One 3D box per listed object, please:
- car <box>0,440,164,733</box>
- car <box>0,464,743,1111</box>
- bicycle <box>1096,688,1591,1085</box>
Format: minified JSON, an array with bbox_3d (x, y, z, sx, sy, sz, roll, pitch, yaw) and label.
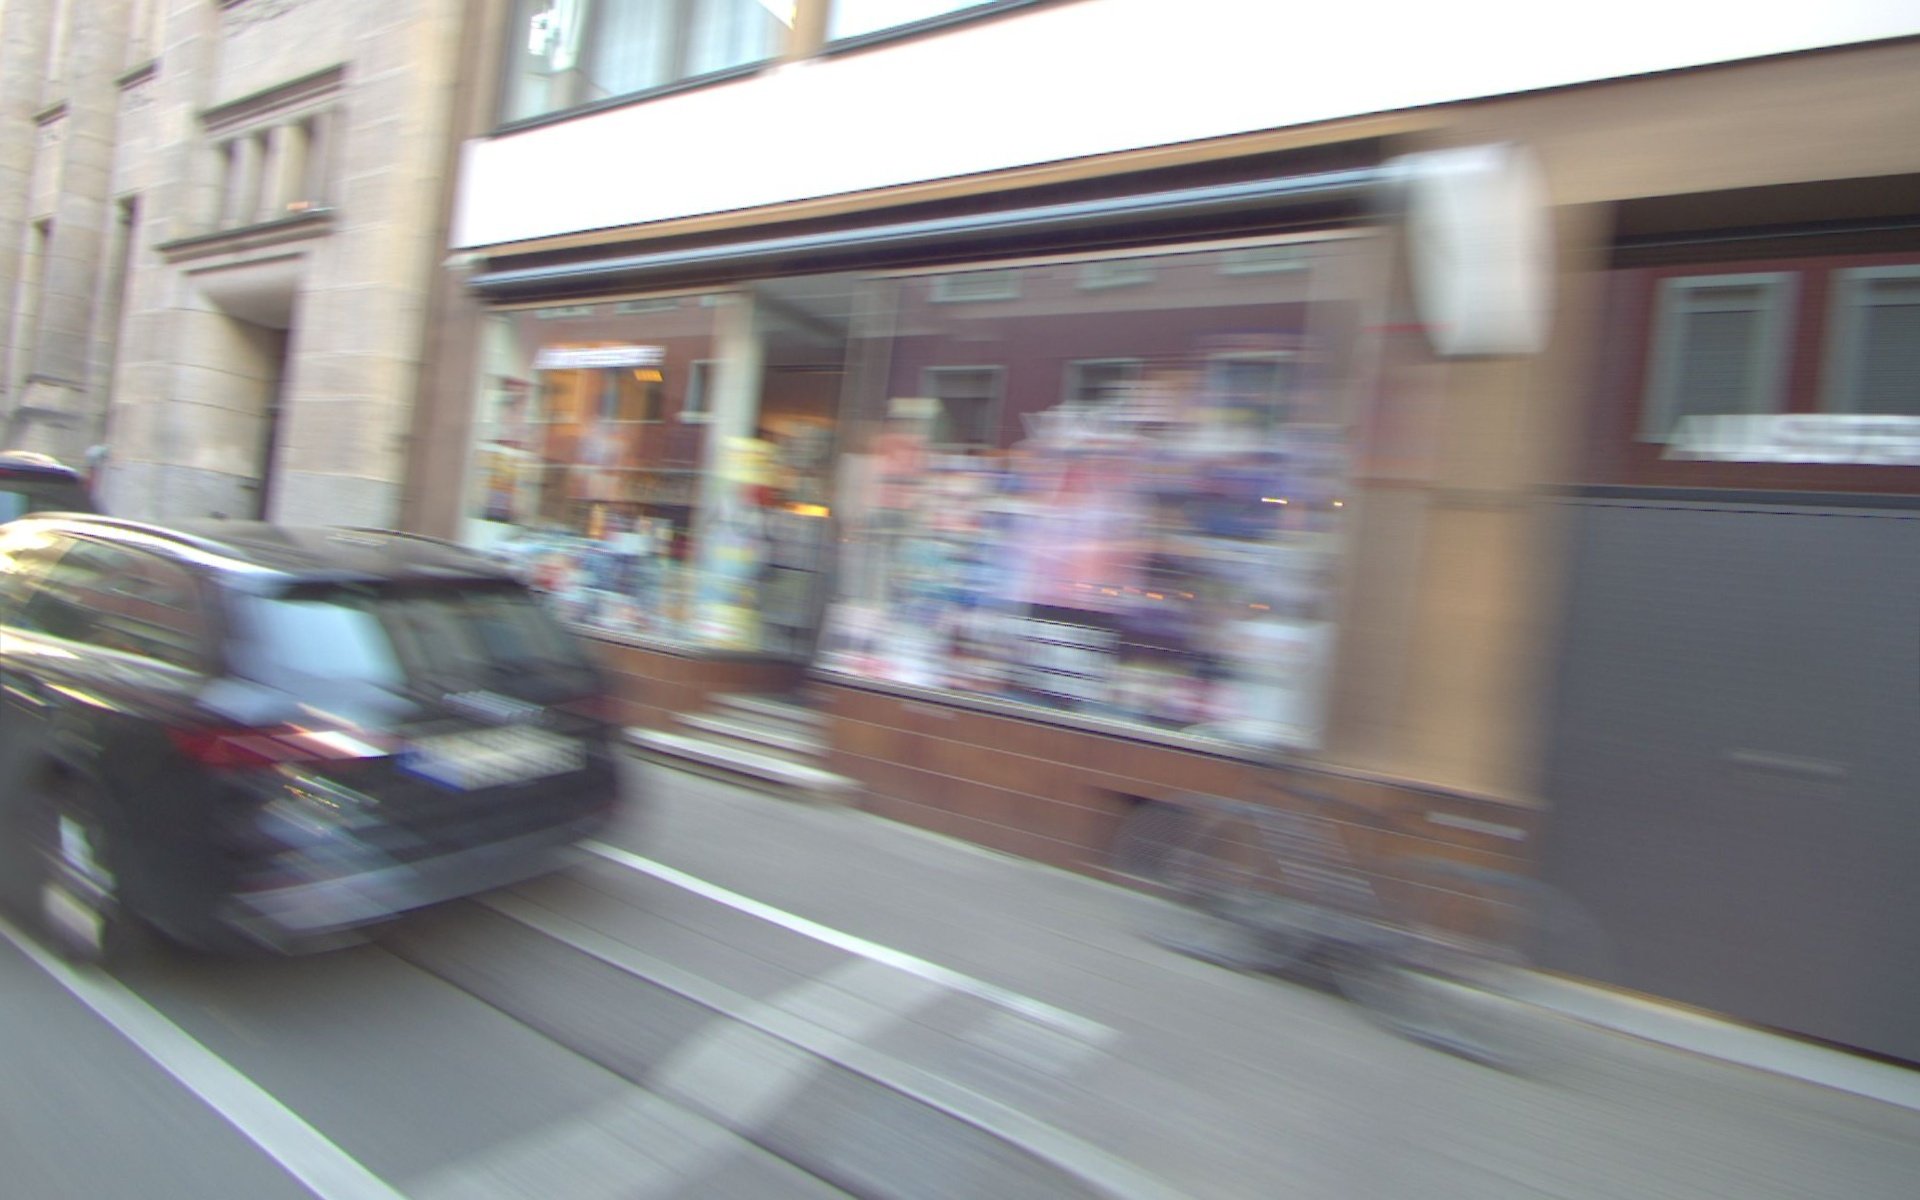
[{"bbox_3d":[-7.791,-0.288,7.356,4.170,1.827,1.673,7,-2,33],"label":"car"},{"bbox_3d":[-3.440,0.316,4.474,4.908,1.534,1.693,7,-1,32],"label":"car"},{"bbox_3d":[1.508,1.051,4.137,1.723,1.105,0.518,7,3,32],"label":"bicycle"}]
